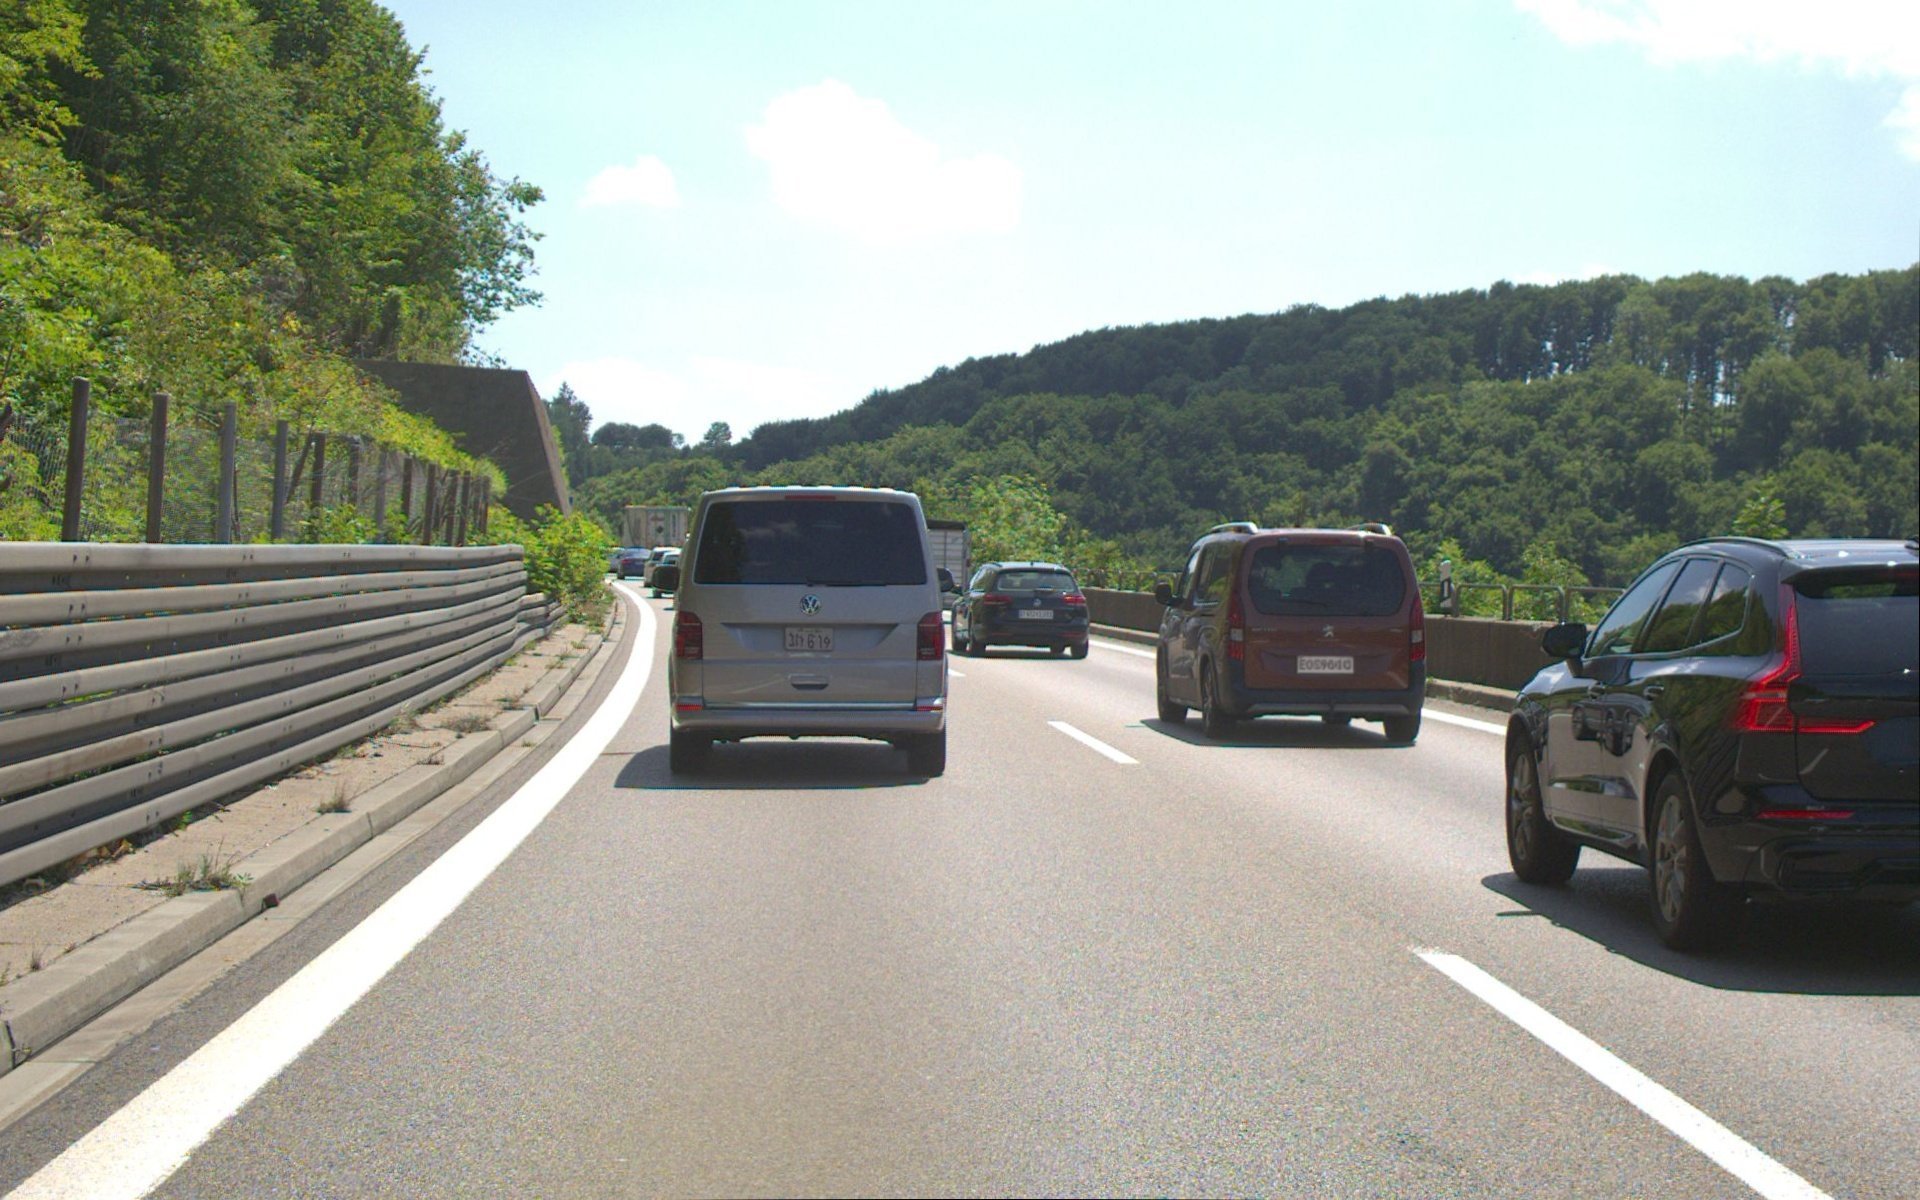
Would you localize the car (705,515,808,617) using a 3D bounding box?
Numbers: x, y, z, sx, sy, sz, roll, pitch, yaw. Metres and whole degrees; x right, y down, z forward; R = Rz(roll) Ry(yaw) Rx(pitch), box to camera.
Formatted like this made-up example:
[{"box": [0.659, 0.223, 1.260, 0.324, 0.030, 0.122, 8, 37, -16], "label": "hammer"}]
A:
[{"box": [-4.106, -0.685, 69.794, 1.993, 2.007, 4.000, 0, 0, -2], "label": "car"}]

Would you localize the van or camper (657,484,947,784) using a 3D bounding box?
[{"box": [-1.106, 0.209, 24.507, 1.875, 1.943, 4.294, 0, 0, -2], "label": "van or camper"}]

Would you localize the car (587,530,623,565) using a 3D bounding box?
[{"box": [-18.479, -2.743, 178.905, 1.845, 1.744, 4.001, 1, 1, -6], "label": "car"}]

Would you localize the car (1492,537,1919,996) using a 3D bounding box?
[{"box": [3.594, 0.577, 14.571, 1.834, 1.628, 4.662, 0, 0, -2], "label": "car"}]

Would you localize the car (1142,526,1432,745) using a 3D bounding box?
[{"box": [2.797, 0.275, 30.396, 1.833, 1.778, 4.676, 0, 0, -4], "label": "car"}]

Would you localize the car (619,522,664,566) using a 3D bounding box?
[{"box": [-14.886, -2.590, 160.847, 1.993, 2.007, 4.001, 0, 0, -4], "label": "car"}]

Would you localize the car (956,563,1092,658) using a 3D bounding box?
[{"box": [0.959, 0.137, 53.172, 1.768, 1.371, 3.593, -1, 1, -4], "label": "car"}]

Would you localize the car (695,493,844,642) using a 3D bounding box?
[{"box": [-2.641, -0.465, 48.513, 1.993, 2.007, 4.000, 0, 1, -2], "label": "car"}]

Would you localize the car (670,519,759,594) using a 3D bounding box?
[{"box": [-6.186, -1.097, 86.292, 1.993, 1.811, 4.001, 1, 1, -7], "label": "car"}]

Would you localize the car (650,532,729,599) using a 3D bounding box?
[{"box": [-8.066, -1.034, 102.343, 1.993, 1.908, 4.001, 1, 1, -9], "label": "car"}]

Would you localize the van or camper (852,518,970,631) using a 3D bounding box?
[{"box": [-1.177, -0.607, 79.768, 2.263, 2.542, 4.737, 0, 1, -7], "label": "van or camper"}]

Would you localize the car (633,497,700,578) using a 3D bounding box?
[{"box": [-18.137, -3.821, 212.127, 4.042, 4.855, 10.111, 0, 1, -5], "label": "car"}]
